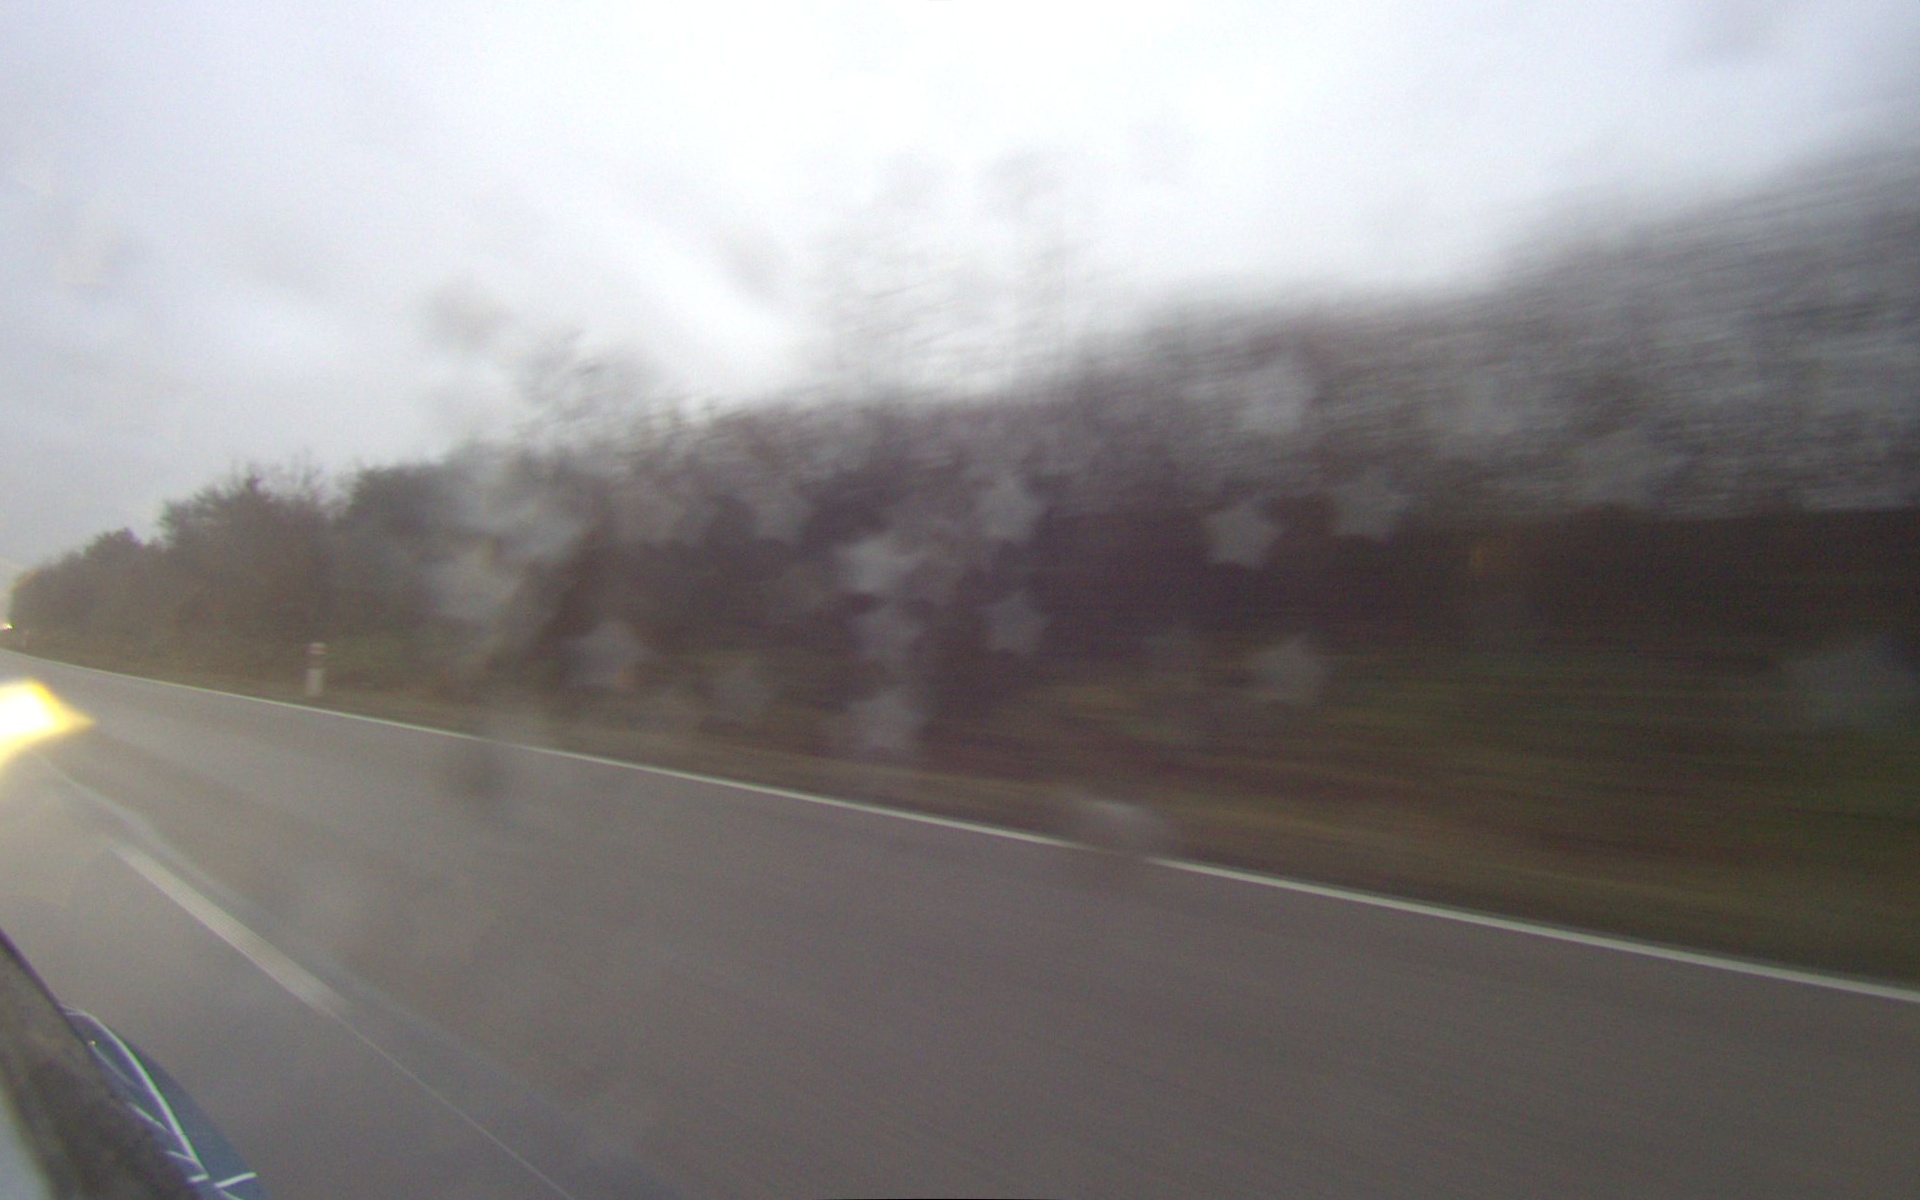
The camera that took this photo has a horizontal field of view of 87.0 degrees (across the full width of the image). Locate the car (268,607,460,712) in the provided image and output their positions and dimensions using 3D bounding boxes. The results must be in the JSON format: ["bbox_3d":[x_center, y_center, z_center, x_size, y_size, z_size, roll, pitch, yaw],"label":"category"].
[{"bbox_3d":[-10.401,0.965,17.571,3.772,1.621,1.757,-1,-2,41],"label":"car"}]
